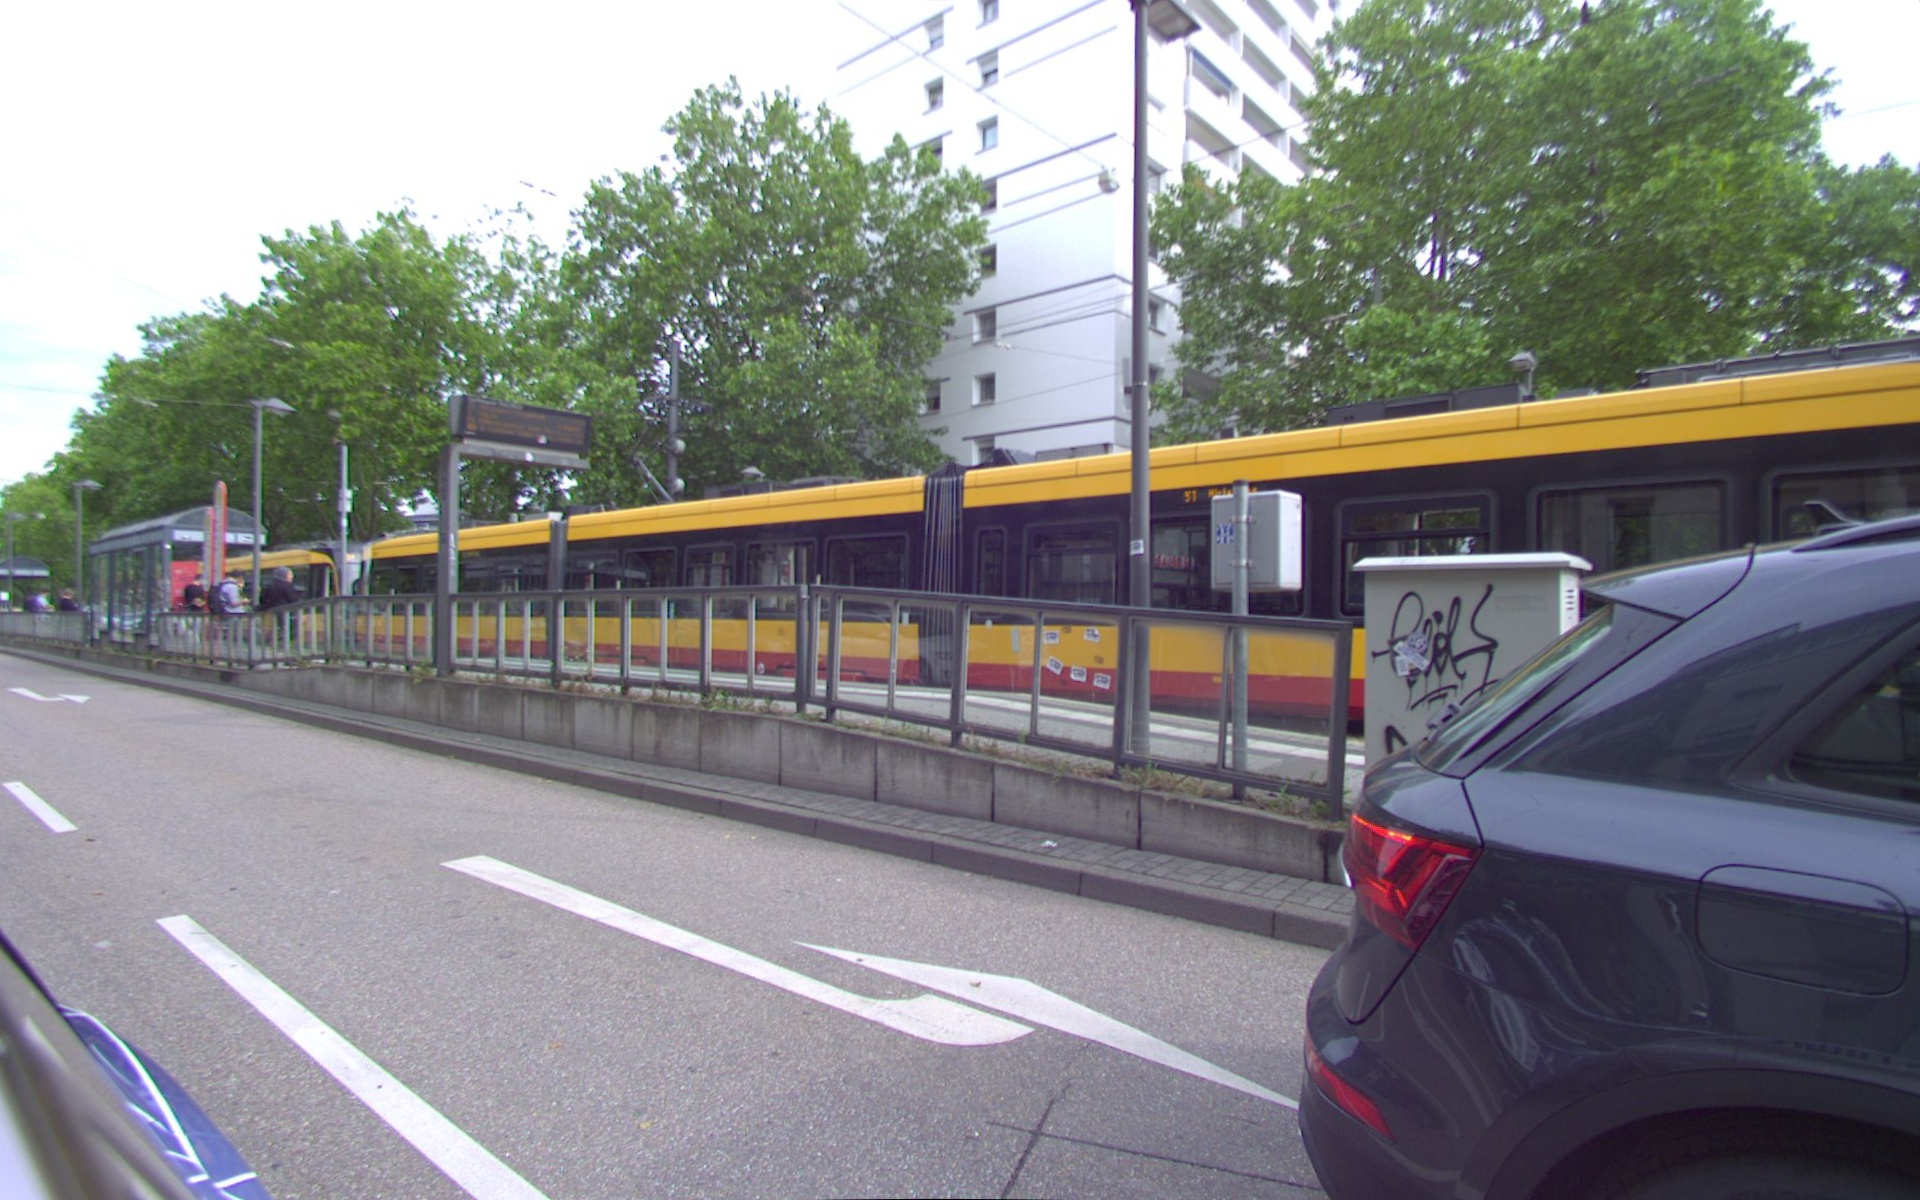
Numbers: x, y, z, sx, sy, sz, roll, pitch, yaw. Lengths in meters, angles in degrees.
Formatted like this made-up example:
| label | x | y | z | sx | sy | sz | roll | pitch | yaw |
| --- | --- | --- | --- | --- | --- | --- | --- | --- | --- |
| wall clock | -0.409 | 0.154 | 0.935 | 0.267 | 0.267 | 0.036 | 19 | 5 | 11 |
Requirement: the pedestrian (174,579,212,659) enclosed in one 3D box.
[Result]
| label | x | y | z | sx | sy | sz | roll | pitch | yaw |
| --- | --- | --- | --- | --- | --- | --- | --- | --- | --- |
| pedestrian | -15.979 | 0.384 | 21.080 | 0.471 | 1.645 | 0.526 | -1 | 0 | 39 |

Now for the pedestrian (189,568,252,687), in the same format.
| label | x | y | z | sx | sy | sz | roll | pitch | yaw |
| --- | --- | --- | --- | --- | --- | --- | --- | --- | --- |
| pedestrian | -12.963 | 0.466 | 17.765 | 0.742 | 2.029 | 0.821 | -1 | 0 | -26 |

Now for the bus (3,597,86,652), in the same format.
| label | x | y | z | sx | sy | sz | roll | pitch | yaw |
| --- | --- | --- | --- | --- | --- | --- | --- | --- | --- |
| bus | -35.914 | 0.909 | 39.675 | 3.998 | 2.029 | 1.973 | 0 | 0 | 41 |

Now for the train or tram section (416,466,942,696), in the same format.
| label | x | y | z | sx | sy | sz | roll | pitch | yaw |
| --- | --- | --- | --- | --- | --- | --- | --- | --- | --- |
| train or tram section | -7.058 | -0.267 | 21.810 | 15.287 | 3.558 | 3.028 | 0 | 0 | 41 |

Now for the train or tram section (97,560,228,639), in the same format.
| label | x | y | z | sx | sy | sz | roll | pitch | yaw |
| --- | --- | --- | --- | --- | --- | --- | --- | --- | --- |
| train or tram section | -40.817 | -0.007 | 51.532 | 12.534 | 3.588 | 3.060 | 0 | 0 | 41 |

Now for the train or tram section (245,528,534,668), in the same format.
| label | x | y | z | sx | sy | sz | roll | pitch | yaw |
| --- | --- | --- | --- | --- | --- | --- | --- | --- | --- |
| train or tram section | -18.547 | -0.016 | 31.921 | 15.287 | 3.558 | 3.028 | 0 | 0 | 41 |

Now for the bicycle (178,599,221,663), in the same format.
| label | x | y | z | sx | sy | sz | roll | pitch | yaw |
| --- | --- | --- | --- | --- | --- | --- | --- | --- | --- |
| bicycle | -15.215 | 0.607 | 20.231 | 1.289 | 1.231 | 0.414 | -1 | 0 | 41 |

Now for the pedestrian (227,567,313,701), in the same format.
| label | x | y | z | sx | sy | sz | roll | pitch | yaw |
| --- | --- | --- | --- | --- | --- | --- | --- | --- | --- |
| pedestrian | -10.760 | 0.520 | 15.801 | 0.808 | 2.029 | 0.754 | -1 | 0 | 4 |

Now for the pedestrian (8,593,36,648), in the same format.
| label | x | y | z | sx | sy | sz | roll | pitch | yaw |
| --- | --- | --- | --- | --- | --- | --- | --- | --- | --- |
| pedestrian | -35.100 | 0.756 | 37.868 | 0.587 | 2.029 | 0.668 | -1 | 0 | 38 |

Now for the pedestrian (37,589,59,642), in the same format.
| label | x | y | z | sx | sy | sz | roll | pitch | yaw |
| --- | --- | --- | --- | --- | --- | --- | --- | --- | --- |
| pedestrian | -28.999 | 0.490 | 32.187 | 0.392 | 1.645 | 0.474 | -1 | 0 | 42 |

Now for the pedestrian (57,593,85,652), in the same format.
| label | x | y | z | sx | sy | sz | roll | pitch | yaw |
| --- | --- | --- | --- | --- | --- | --- | --- | --- | --- |
| pedestrian | -25.365 | 0.631 | 28.867 | 0.730 | 1.645 | 0.506 | -1 | 0 | 42 |

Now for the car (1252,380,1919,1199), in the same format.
| label | x | y | z | sx | sy | sz | roll | pitch | yaw |
| --- | --- | --- | --- | --- | --- | --- | --- | --- | --- |
| car | 2.749 | 0.540 | 1.022 | 4.354 | 1.613 | 1.861 | -1 | 0 | 40 |

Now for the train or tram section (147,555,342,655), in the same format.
| label | x | y | z | sx | sy | sz | roll | pitch | yaw |
| --- | --- | --- | --- | --- | --- | --- | --- | --- | --- |
| train or tram section | -30.208 | 0.207 | 42.157 | 15.764 | 3.558 | 3.028 | 0 | 0 | 41 |

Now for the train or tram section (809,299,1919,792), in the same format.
| label | x | y | z | sx | sy | sz | roll | pitch | yaw |
| --- | --- | --- | --- | --- | --- | --- | --- | --- | --- |
| train or tram section | 4.616 | -0.385 | 11.555 | 15.841 | 3.615 | 3.028 | 0 | 0 | 41 |
